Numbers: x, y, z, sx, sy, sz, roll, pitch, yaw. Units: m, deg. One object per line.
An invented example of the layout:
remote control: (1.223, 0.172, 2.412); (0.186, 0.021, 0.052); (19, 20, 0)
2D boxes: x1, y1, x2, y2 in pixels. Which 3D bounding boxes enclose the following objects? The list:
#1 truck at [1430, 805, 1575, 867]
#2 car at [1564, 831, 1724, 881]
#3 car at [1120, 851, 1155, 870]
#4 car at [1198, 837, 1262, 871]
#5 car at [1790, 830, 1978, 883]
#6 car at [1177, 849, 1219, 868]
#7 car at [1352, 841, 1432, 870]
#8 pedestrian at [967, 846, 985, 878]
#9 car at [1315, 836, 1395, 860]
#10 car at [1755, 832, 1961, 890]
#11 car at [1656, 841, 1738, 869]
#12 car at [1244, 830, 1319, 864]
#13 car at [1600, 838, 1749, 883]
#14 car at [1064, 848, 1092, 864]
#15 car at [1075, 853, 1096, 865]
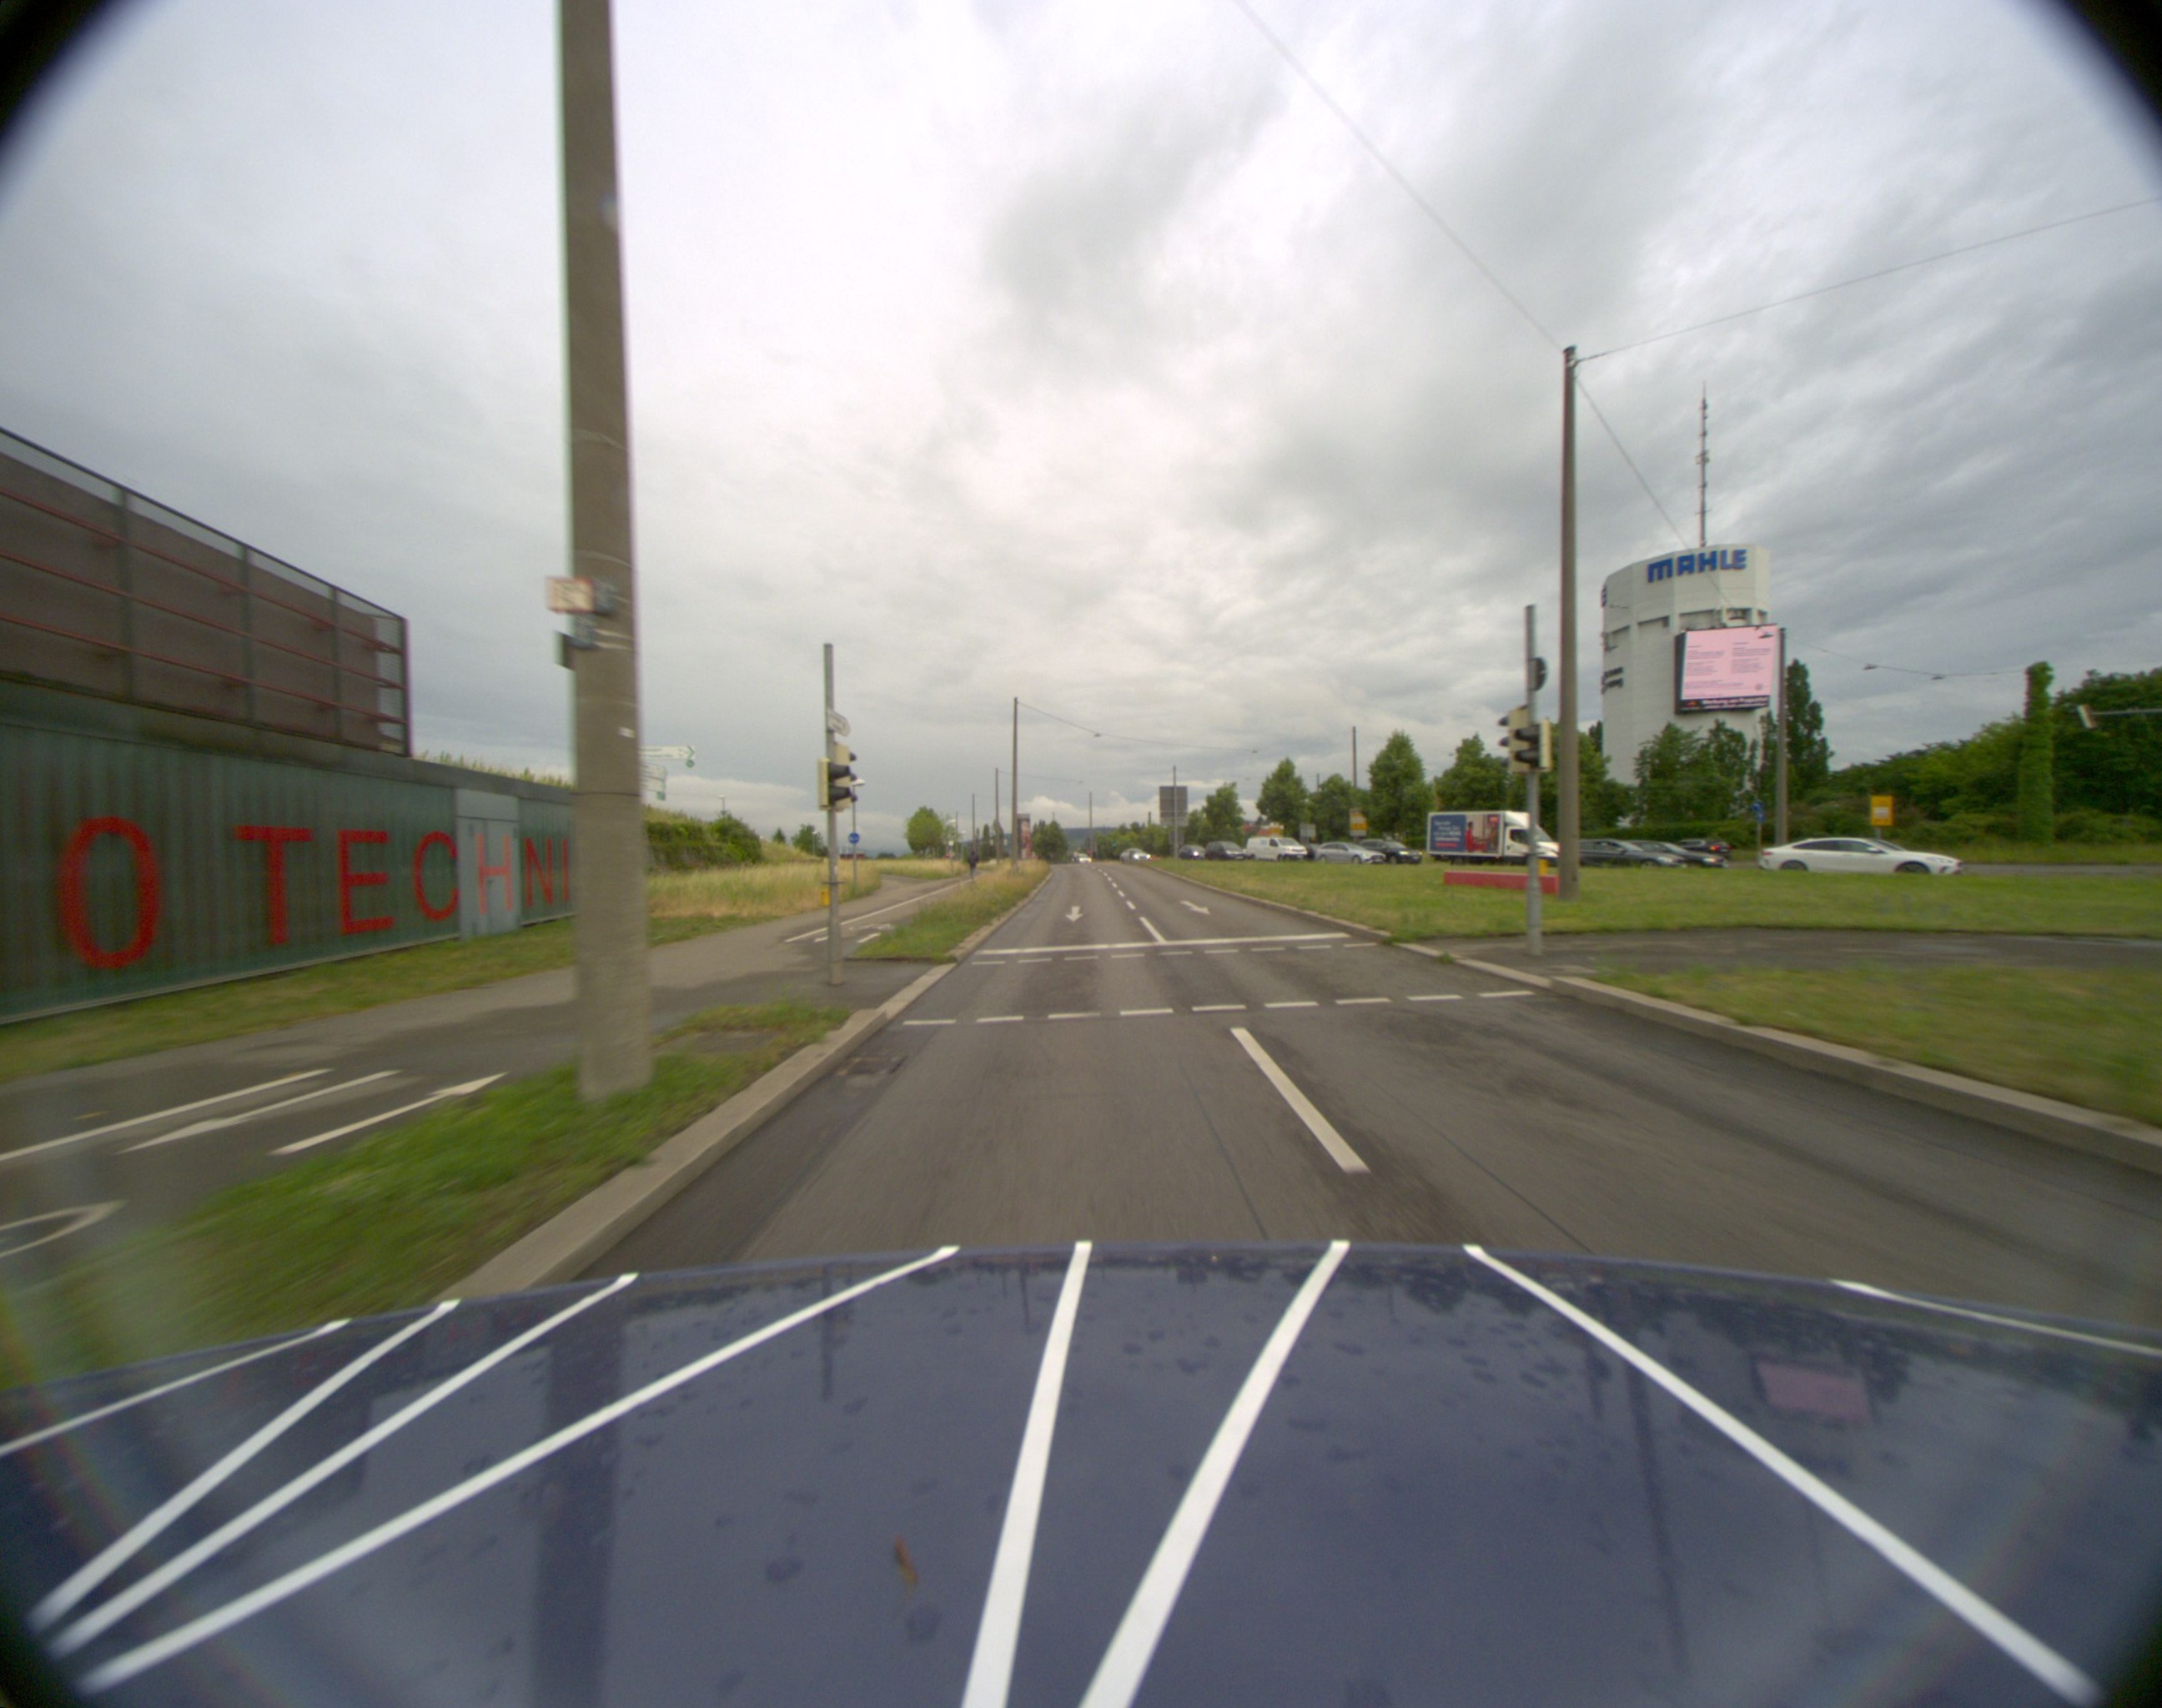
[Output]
truck: (21.068, -0.818, 38.308); (2.134, 2.818, 6.017); (-4, 1, -32)
car: (21.683, 0.085, 29.471); (2.003, 1.673, 4.510); (-4, 1, -30)
car: (5.707, 0.611, 77.482); (2.001, 1.790, 5.163); (-3, 1, -14)
car: (10.450, -0.006, 53.784); (2.002, 2.169, 5.161); (-4, 1, -20)
car: (28.620, 0.108, 27.204); (2.003, 1.673, 4.509); (-4, 1, -40)
car: (11.102, 0.451, 72.613); (2.001, 1.673, 4.513); (-3, 1, -19)
car: (19.475, 0.109, 47.848); (2.002, 1.673, 4.512); (-4, 1, -23)
pedestrian: (-5.785, 0.434, 41.875); (0.801, 1.714, 0.988); (-3, 1, -15)
car: (16.752, -0.326, 46.717); (2.002, 1.303, 4.522); (-4, 1, -23)
car: (25.465, 0.198, 25.049); (2.003, 1.673, 4.508); (-4, 2, -36)
car: (42.998, 0.062, 53.138); (1.820, 1.807, 3.991); (-4, 1, -27)
car: (14.012, -0.488, 53.528); (2.376, 2.169, 5.299); (-4, 1, -20)
car: (24.835, 0.264, 31.962); (2.003, 1.673, 4.510); (-4, 1, -33)
car: (-0.403, 0.200, 92.059); (2.001, 1.790, 5.163); (-3, 1, -14)
car: (0.605, 0.762, 115.670); (2.001, 1.772, 3.994); (-3, 1, -17)
